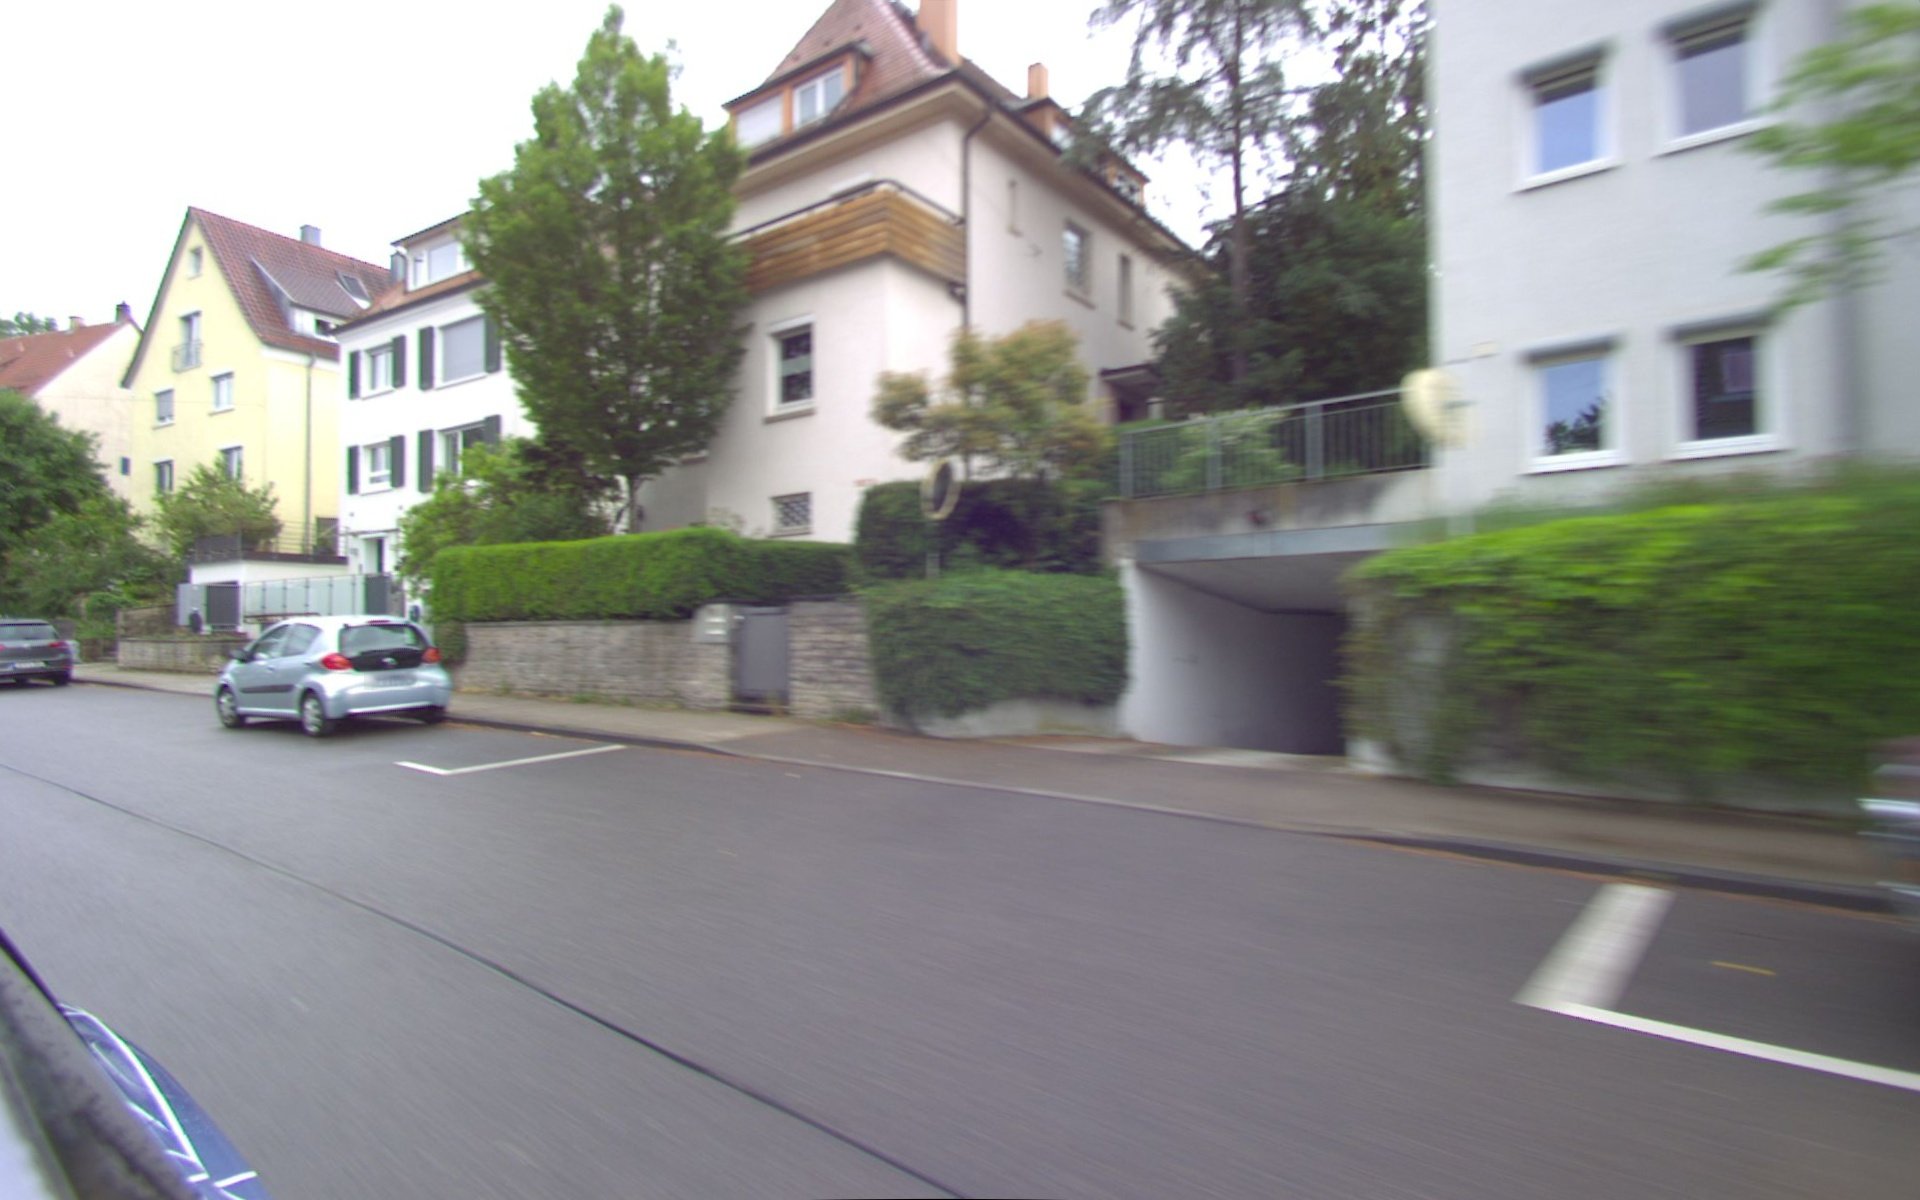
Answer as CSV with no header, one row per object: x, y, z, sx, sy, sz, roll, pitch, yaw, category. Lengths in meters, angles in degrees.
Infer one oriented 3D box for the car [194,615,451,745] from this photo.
-8.461,0.981,13.375,3.477,1.497,1.592,-2,-1,33,car

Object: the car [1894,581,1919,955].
5.144,0.575,2.057,4.607,1.428,1.627,-2,-1,39,car

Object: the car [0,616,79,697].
-21.051,1.222,21.929,4.124,1.592,1.779,-2,1,32,car
